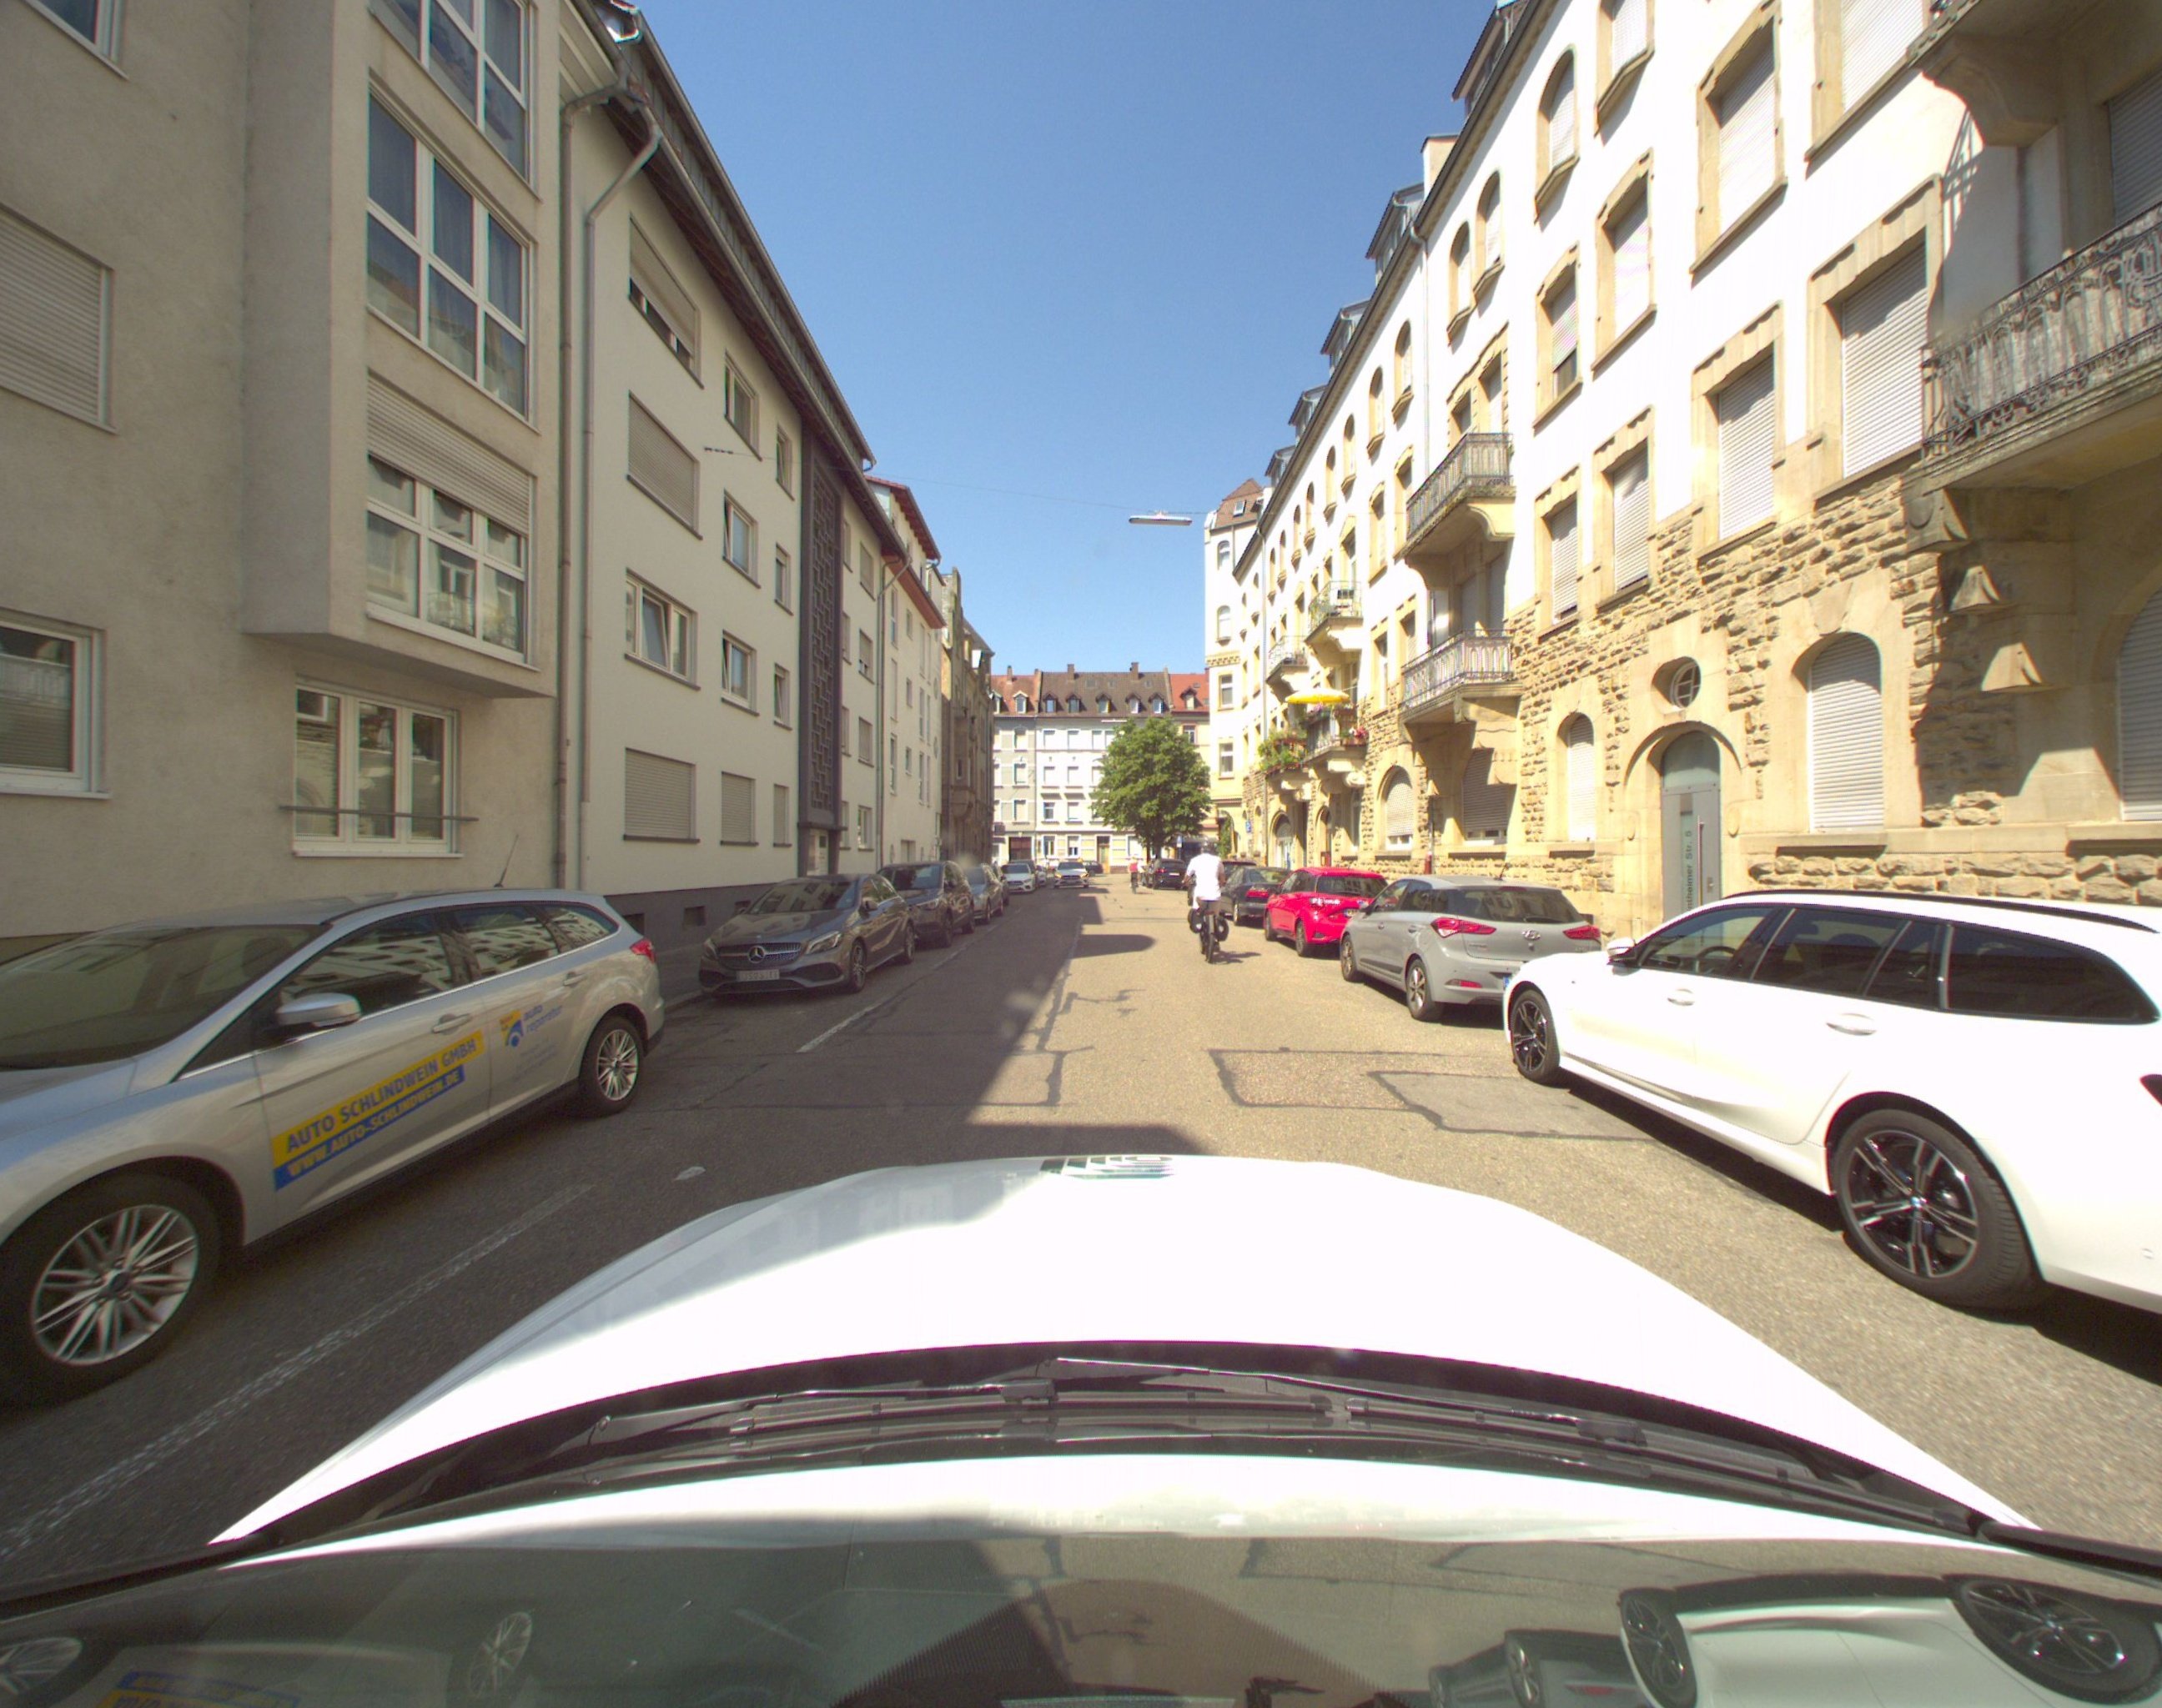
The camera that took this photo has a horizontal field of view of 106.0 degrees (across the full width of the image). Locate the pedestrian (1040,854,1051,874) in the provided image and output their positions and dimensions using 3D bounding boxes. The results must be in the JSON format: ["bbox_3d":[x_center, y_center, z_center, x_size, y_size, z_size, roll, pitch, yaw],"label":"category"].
[{"bbox_3d":[-3.326,0.929,76.918,0.844,1.889,0.938,-1,-1,11],"label":"pedestrian"}]

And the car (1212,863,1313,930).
[{"bbox_3d":[4.400,0.987,20.282,1.508,1.399,3.970,4,-1,-1],"label":"car"}]

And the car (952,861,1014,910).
[{"bbox_3d":[-3.252,1.026,27.707,1.562,1.491,3.893,-2,-1,0],"label":"car"}]

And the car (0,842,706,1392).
[{"bbox_3d":[-3.820,0.780,4.133,1.725,1.495,4.348,-3,-1,0],"label":"car"}]

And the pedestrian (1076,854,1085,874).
[{"bbox_3d":[-0.080,0.913,75.254,0.724,1.853,0.683,0,-1,-9],"label":"pedestrian"}]

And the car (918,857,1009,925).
[{"bbox_3d":[-2.964,0.893,21.476,1.651,1.518,4.671,-2,-1,0],"label":"car"}]

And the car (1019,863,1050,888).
[{"bbox_3d":[-2.737,1.237,48.881,1.697,1.352,4.511,-2,-1,-2],"label":"car"}]

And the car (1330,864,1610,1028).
[{"bbox_3d":[4.213,0.881,9.518,1.583,1.452,3.859,2,-1,3],"label":"car"}]

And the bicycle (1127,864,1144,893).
[{"bbox_3d":[2.414,1.063,36.073,0.649,1.209,2.442,1,-1,2],"label":"bicycle"}]

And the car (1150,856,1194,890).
[{"bbox_3d":[4.722,0.965,42.812,1.731,1.597,4.345,2,-1,-1],"label":"car"}]

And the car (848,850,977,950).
[{"bbox_3d":[-3.132,0.803,15.876,1.598,1.644,3.977,-2,-1,0],"label":"car"}]

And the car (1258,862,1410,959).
[{"bbox_3d":[4.384,0.908,14.678,1.565,1.452,3.843,2,-1,1],"label":"car"}]

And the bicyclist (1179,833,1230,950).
[{"bbox_3d":[1.922,0.576,12.733,0.668,1.760,0.609,2,-1,1],"label":"bicyclist"}]

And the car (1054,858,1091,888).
[{"bbox_3d":[-0.439,1.008,43.886,1.835,1.461,4.362,-2,-1,0],"label":"car"}]

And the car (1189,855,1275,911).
[{"bbox_3d":[4.681,0.861,25.942,1.827,1.567,4.603,2,-1,0],"label":"car"}]

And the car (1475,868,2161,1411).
[{"bbox_3d":[3.956,0.845,4.322,1.709,1.452,4.601,2,-1,3],"label":"car"}]

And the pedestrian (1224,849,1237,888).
[{"bbox_3d":[7.421,0.722,40.512,0.596,1.880,0.884,0,-1,6],"label":"pedestrian"}]

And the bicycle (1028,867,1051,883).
[{"bbox_3d":[-2.846,1.453,55.525,1.522,1.008,0.366,2,-1,-4],"label":"bicycle"}]

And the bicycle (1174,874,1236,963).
[{"bbox_3d":[1.933,0.956,12.974,0.649,1.228,2.442,1,-1,2],"label":"bicycle"}]

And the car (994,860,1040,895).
[{"bbox_3d":[-2.967,1.074,38.518,1.770,1.460,4.278,-2,-1,0],"label":"car"}]

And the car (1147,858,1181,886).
[{"bbox_3d":[4.953,1.075,49.001,1.657,1.540,4.178,2,-1,1],"label":"car"}]

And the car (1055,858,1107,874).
[{"bbox_3d":[0.024,1.156,76.540,4.843,1.437,2.000,-1,-1,0],"label":"car"}]

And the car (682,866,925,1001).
[{"bbox_3d":[-3.468,0.907,11.127,1.759,1.393,4.348,-2,-1,0],"label":"car"}]

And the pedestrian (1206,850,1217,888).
[{"bbox_3d":[6.507,0.753,40.529,0.516,1.869,0.655,0,-1,7],"label":"pedestrian"}]

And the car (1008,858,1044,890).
[{"bbox_3d":[-2.923,1.035,43.888,1.667,1.583,4.050,-2,-1,-1],"label":"car"}]

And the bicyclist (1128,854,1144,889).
[{"bbox_3d":[2.435,0.765,36.078,0.668,1.533,0.609,-1,-1,1],"label":"bicyclist"}]
